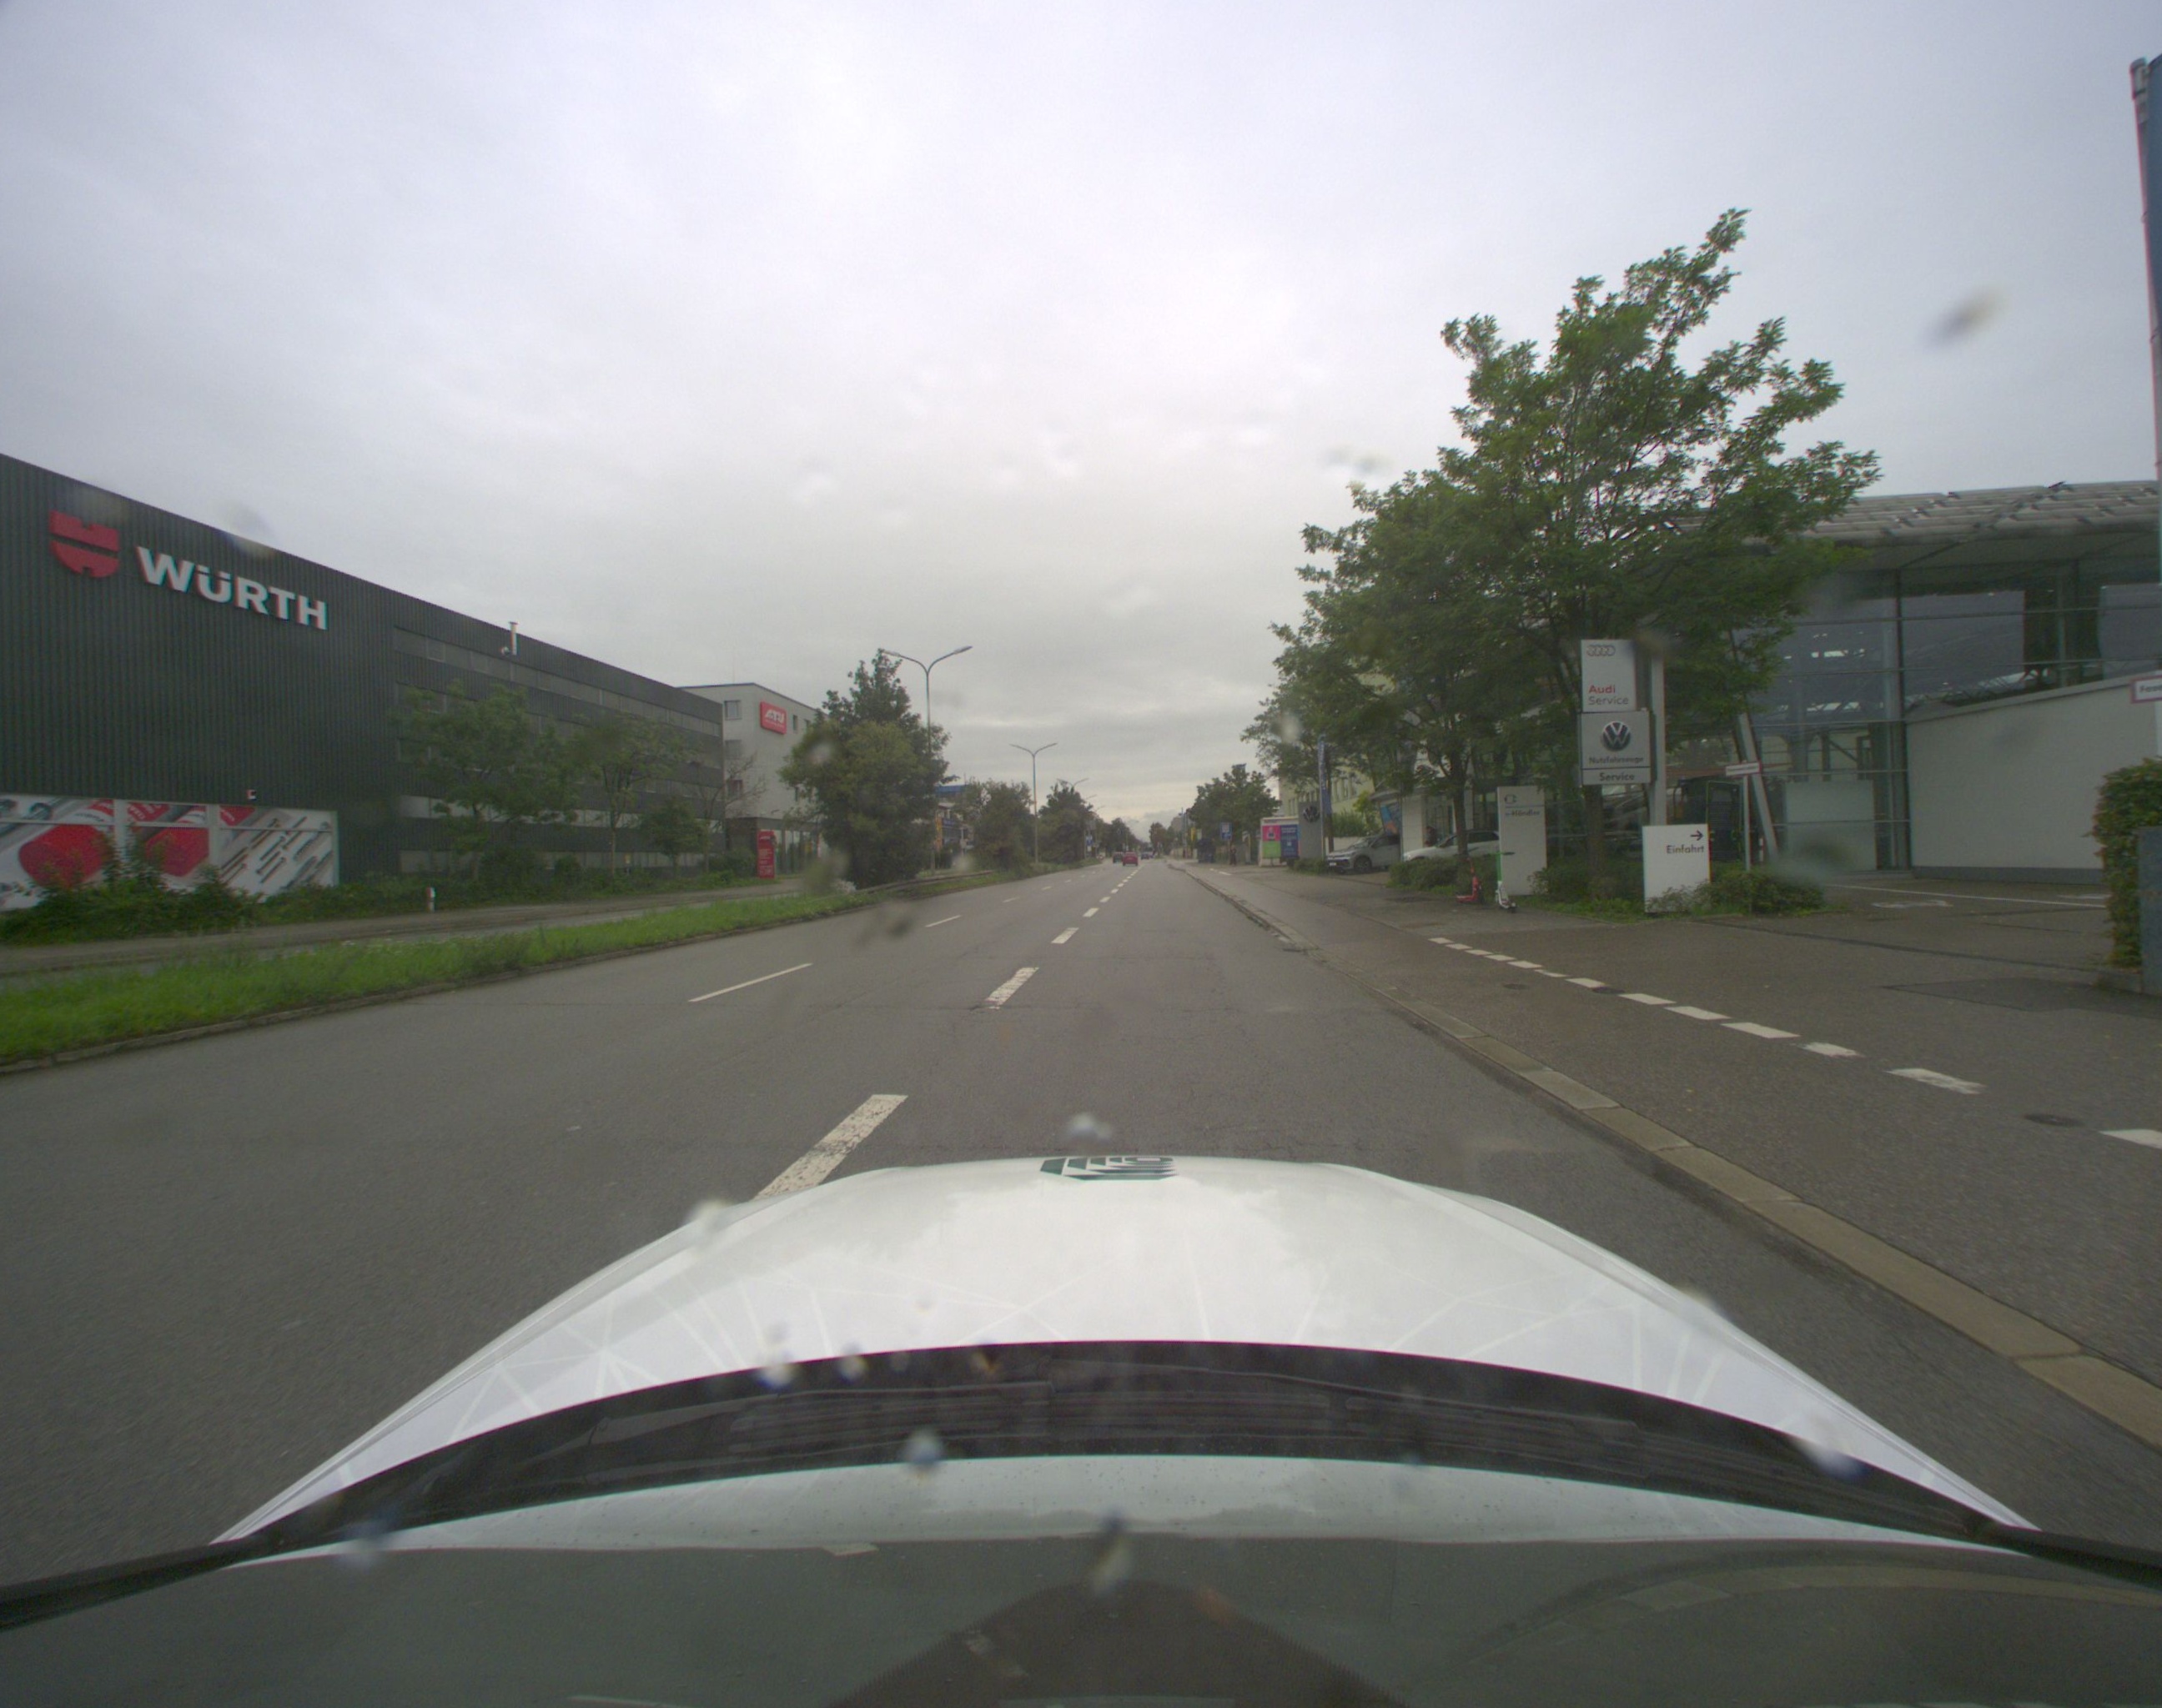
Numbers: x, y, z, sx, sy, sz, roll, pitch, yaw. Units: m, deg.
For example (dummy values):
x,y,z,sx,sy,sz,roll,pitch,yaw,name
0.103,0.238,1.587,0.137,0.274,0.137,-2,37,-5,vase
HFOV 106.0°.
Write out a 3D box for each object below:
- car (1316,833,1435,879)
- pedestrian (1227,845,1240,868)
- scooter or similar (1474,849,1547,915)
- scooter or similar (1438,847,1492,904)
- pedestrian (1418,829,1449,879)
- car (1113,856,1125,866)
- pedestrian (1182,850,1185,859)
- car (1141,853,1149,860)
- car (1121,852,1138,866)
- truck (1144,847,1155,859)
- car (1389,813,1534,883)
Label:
x,y,z,sx,sy,sz,roll,pitch,yaw,name
13.135,0.100,36.388,4.599,1.707,1.996,-3,-2,-16,car
12.030,0.168,64.292,0.755,1.728,0.896,-5,-1,3,pedestrian
8.424,0.535,16.016,0.495,1.205,1.427,-4,-1,-5,scooter or similar
8.584,0.455,18.276,0.494,1.204,1.431,-5,0,2,scooter or similar
12.783,-0.012,29.557,0.811,1.776,0.708,-1,-1,-40,pedestrian
5.995,1.090,127.648,1.795,1.433,4.004,-2,-1,3,car
18.777,0.084,148.503,0.481,1.636,0.591,-2,-1,5,pedestrian
13.918,0.572,177.314,1.795,1.433,4.003,-1,-1,3,car
5.829,0.623,98.003,1.853,1.618,4.005,-1,-1,5,car
19.102,-0.220,227.487,2.956,3.285,7.922,-2,-1,3,truck
12.844,-0.153,27.534,4.206,2.014,1.975,-4,-2,29,car
